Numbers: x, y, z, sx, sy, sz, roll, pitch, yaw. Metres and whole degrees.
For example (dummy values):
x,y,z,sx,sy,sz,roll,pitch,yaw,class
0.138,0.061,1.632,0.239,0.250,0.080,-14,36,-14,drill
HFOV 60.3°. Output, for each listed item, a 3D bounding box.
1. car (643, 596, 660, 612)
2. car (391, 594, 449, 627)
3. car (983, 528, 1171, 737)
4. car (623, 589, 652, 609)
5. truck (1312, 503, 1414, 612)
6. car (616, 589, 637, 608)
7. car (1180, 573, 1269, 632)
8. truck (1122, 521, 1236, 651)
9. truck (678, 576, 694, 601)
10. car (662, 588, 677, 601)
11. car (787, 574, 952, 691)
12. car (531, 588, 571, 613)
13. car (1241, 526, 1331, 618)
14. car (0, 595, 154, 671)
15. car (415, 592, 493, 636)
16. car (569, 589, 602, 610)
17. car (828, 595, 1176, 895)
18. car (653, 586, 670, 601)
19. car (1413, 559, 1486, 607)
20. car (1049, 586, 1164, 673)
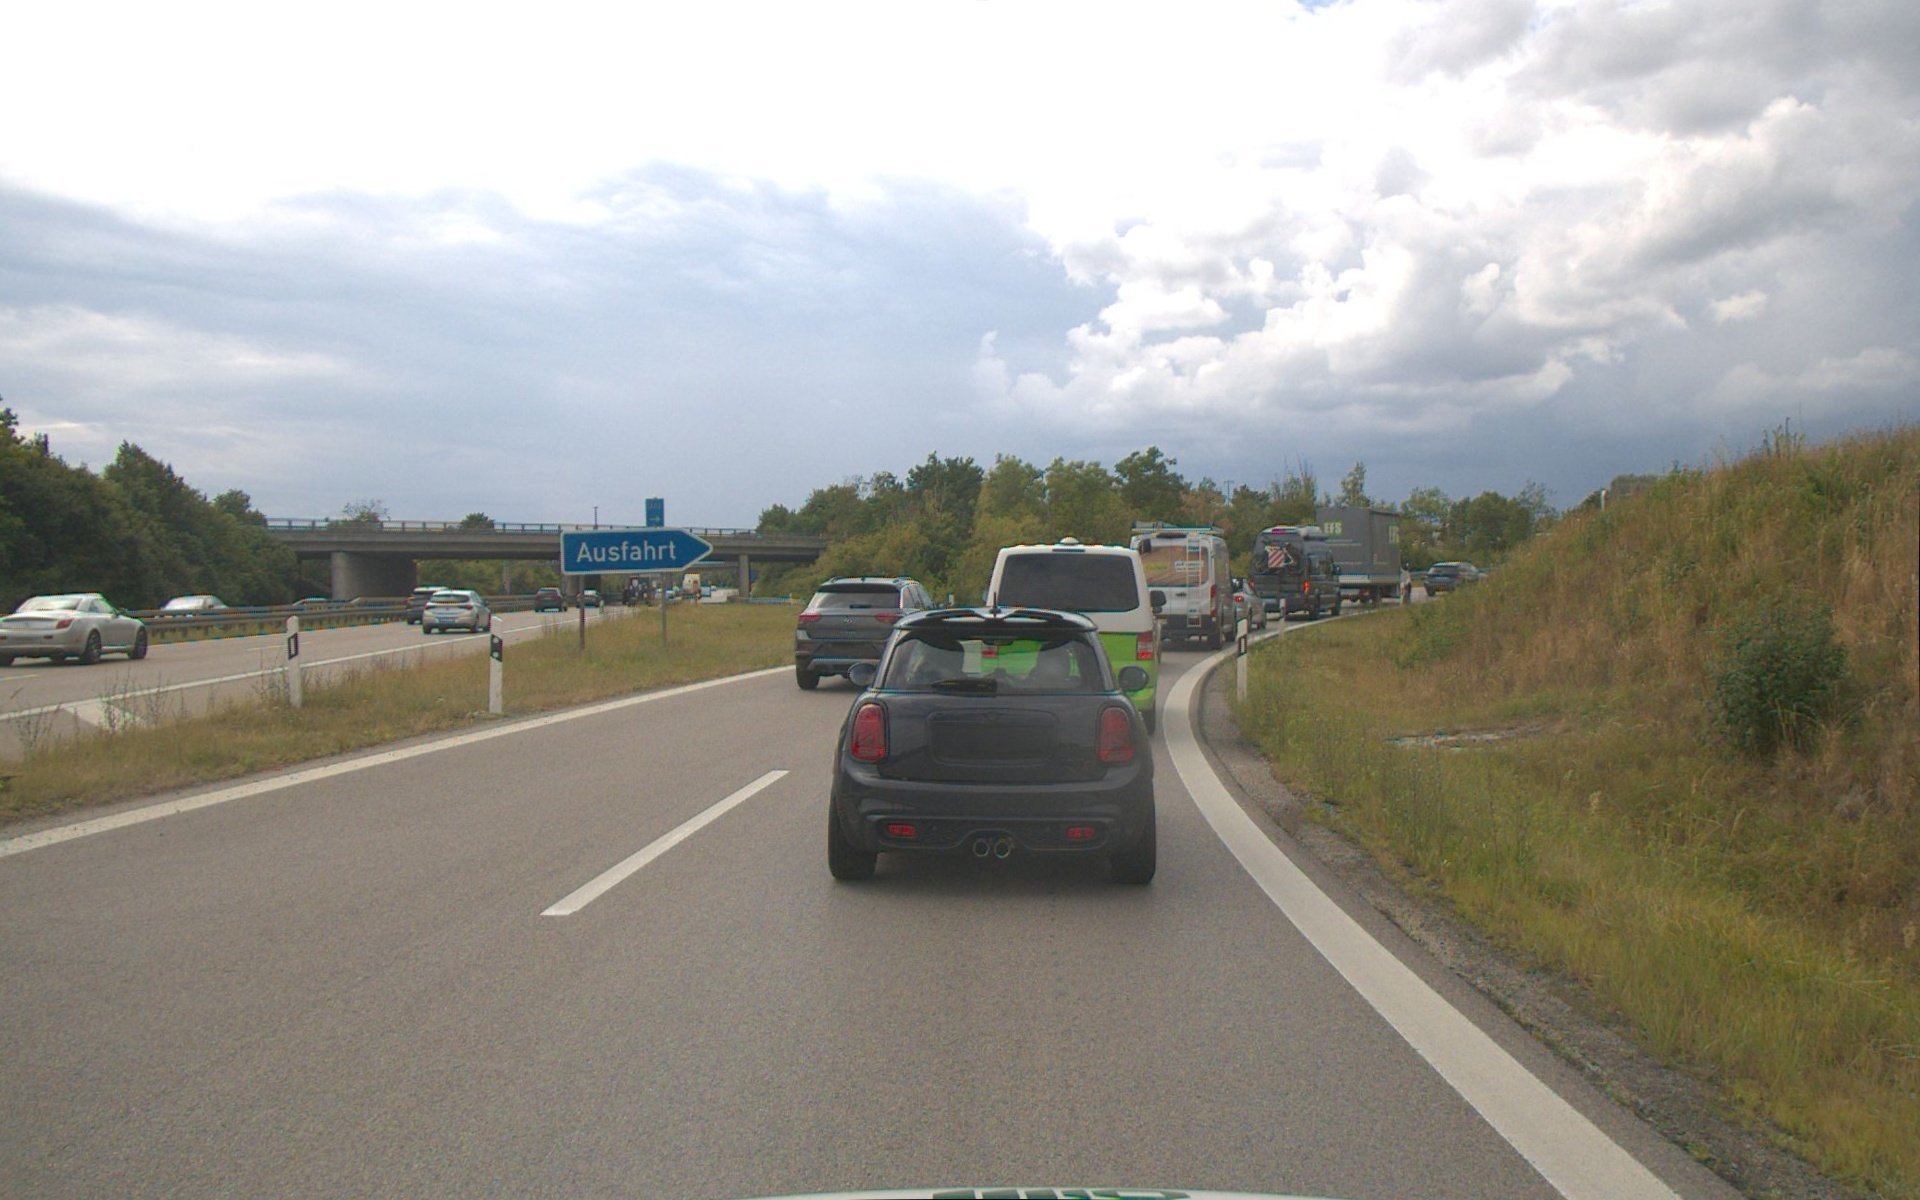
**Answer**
x,y,z,sx,sy,sz,roll,pitch,yaw,class
-39.148,0.506,209.698,1.957,2.049,3.992,-1,0,-9,car
-23.963,0.435,73.462,1.747,1.423,4.297,-1,0,-9,car
1.406,0.300,18.324,1.746,2.049,4.003,0,0,9,car
-28.115,-0.129,144.339,2.055,1.700,4.301,-1,0,-5,car
15.542,-1.545,63.554,2.187,3.975,6.004,1,-1,30,truck
-36.919,-0.173,183.346,2.031,2.049,3.992,1,0,-8,car
7.316,0.047,45.473,1.827,1.536,4.002,0,0,18,car
5.007,-0.348,37.237,2.132,2.705,5.113,0,1,12,truck
-39.512,-1.611,238.730,2.105,3.569,3.994,1,0,-7,truck
-45.314,-0.870,258.429,1.955,2.002,3.995,1,0,-5,car
-1.245,0.456,24.453,1.757,1.583,3.964,0,0,7,car
-28.697,0.050,116.075,2.055,1.700,4.301,-1,0,-5,car
10.479,-0.893,52.990,2.062,2.845,3.999,1,1,23,car
-18.001,0.624,33.515,1.747,1.423,4.298,-1,0,-8,car
-17.268,0.457,56.617,1.745,1.423,4.024,-1,0,-5,car
-31.976,-0.071,141.274,2.118,1.700,4.301,-1,0,-5,car
0.234,0.703,9.926,1.691,1.438,3.725,0,0,1,car
-42.436,-0.929,234.941,1.955,2.002,3.995,1,0,-5,car
21.724,-0.724,73.313,1.959,2.049,3.986,1,0,35,car
2.637,0.477,29.128,1.724,1.423,3.728,-1,0,10,car
